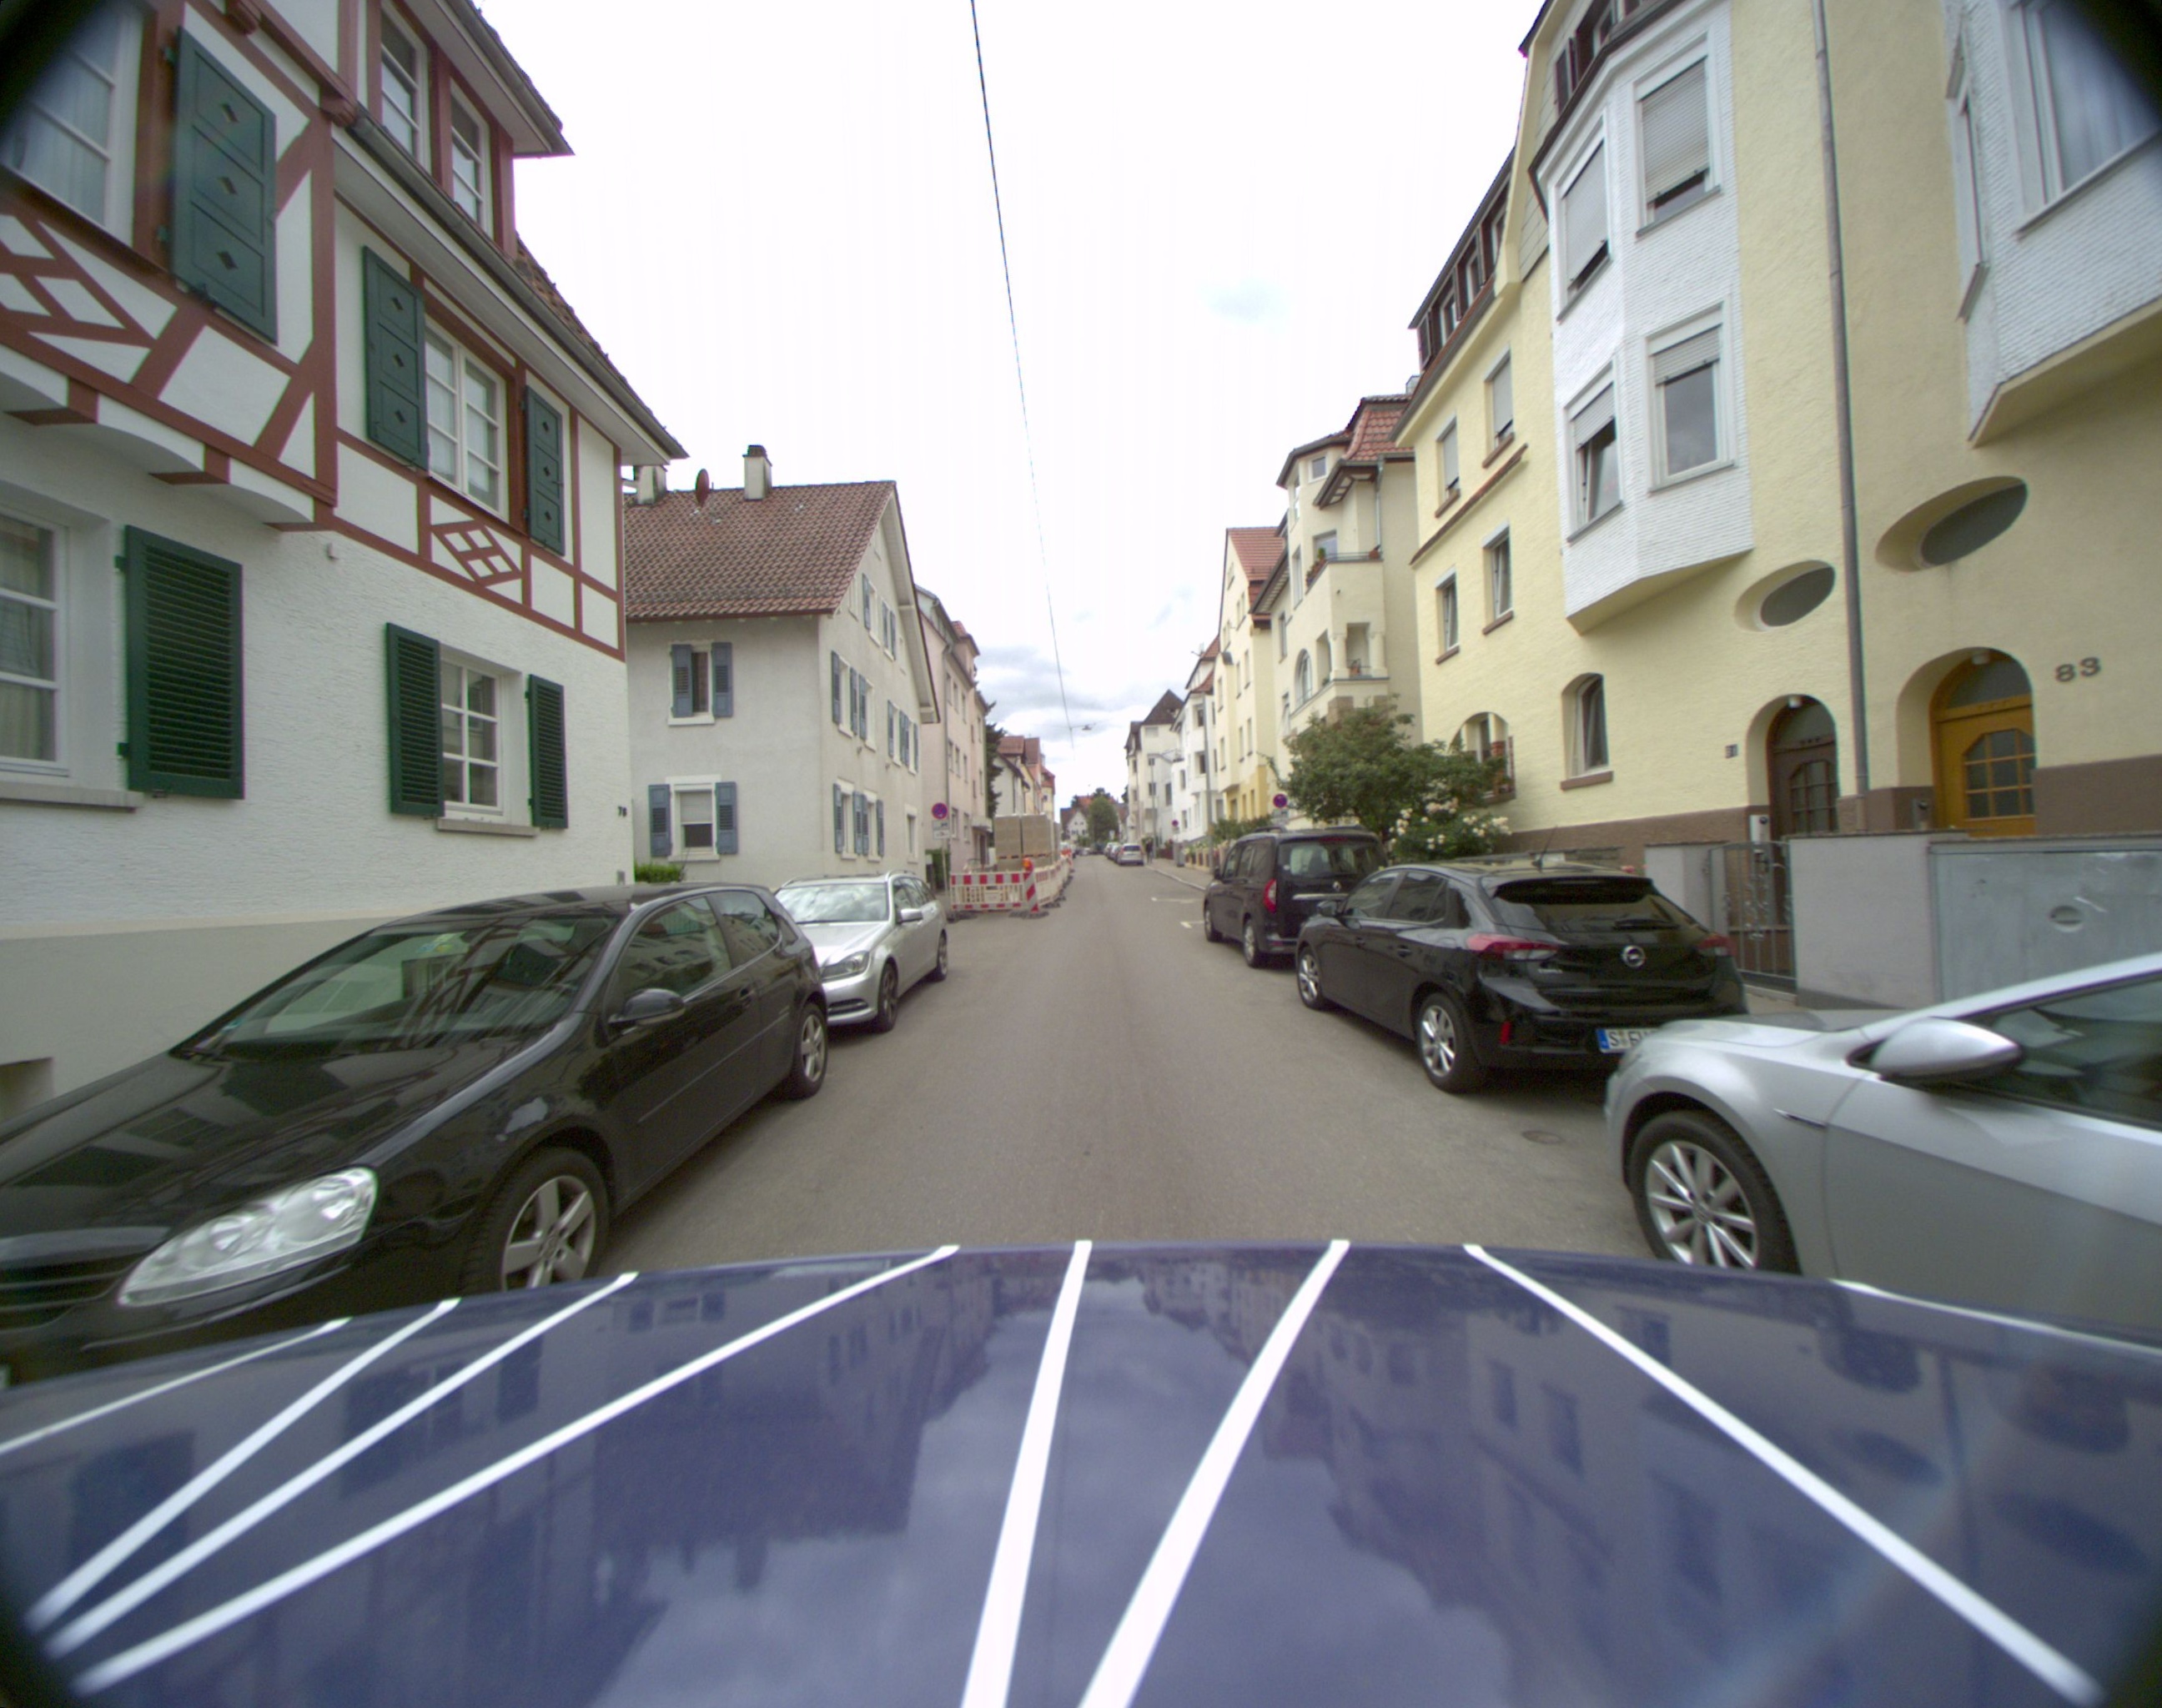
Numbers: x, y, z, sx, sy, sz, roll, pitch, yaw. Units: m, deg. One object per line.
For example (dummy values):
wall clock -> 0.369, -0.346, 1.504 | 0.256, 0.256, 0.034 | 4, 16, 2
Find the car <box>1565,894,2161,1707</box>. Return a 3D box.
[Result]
car -> 2.763, 0.895, 1.005 | 1.643, 1.420, 4.123 | -1, 1, 0

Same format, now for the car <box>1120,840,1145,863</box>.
car -> 3.729, -0.186, 55.246 | 1.663, 1.557, 3.999 | -2, 1, 2

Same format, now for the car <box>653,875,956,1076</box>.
car -> -2.532, 1.017, 8.124 | 1.629, 1.384, 4.236 | -3, 0, 0

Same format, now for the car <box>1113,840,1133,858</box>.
car -> 3.892, -0.473, 70.912 | 1.782, 1.557, 3.999 | -2, 1, 2

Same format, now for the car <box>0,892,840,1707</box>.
car -> -2.597, 1.066, 3.449 | 1.609, 1.481, 4.023 | -3, 0, 0

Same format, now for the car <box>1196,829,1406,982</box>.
car -> 2.937, 0.582, 11.111 | 1.753, 1.786, 4.148 | -1, 1, -2

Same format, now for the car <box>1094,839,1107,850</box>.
car -> 2.971, -1.429, 114.601 | 1.782, 1.557, 3.999 | -2, 1, 2

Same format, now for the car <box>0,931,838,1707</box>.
car -> -2.547, 1.365, 3.185 | 1.781, 1.710, 4.001 | -3, -2, -1

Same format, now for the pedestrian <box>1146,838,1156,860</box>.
pedestrian -> 5.185, -0.373, 56.248 | 0.617, 1.647, 0.812 | -3, 1, 2

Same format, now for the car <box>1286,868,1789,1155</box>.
car -> 2.893, 0.866, 5.850 | 1.643, 1.391, 3.702 | 0, 1, 0

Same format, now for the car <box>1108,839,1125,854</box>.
car -> 4.057, -0.867, 87.490 | 1.782, 1.557, 3.999 | -2, 1, 2
